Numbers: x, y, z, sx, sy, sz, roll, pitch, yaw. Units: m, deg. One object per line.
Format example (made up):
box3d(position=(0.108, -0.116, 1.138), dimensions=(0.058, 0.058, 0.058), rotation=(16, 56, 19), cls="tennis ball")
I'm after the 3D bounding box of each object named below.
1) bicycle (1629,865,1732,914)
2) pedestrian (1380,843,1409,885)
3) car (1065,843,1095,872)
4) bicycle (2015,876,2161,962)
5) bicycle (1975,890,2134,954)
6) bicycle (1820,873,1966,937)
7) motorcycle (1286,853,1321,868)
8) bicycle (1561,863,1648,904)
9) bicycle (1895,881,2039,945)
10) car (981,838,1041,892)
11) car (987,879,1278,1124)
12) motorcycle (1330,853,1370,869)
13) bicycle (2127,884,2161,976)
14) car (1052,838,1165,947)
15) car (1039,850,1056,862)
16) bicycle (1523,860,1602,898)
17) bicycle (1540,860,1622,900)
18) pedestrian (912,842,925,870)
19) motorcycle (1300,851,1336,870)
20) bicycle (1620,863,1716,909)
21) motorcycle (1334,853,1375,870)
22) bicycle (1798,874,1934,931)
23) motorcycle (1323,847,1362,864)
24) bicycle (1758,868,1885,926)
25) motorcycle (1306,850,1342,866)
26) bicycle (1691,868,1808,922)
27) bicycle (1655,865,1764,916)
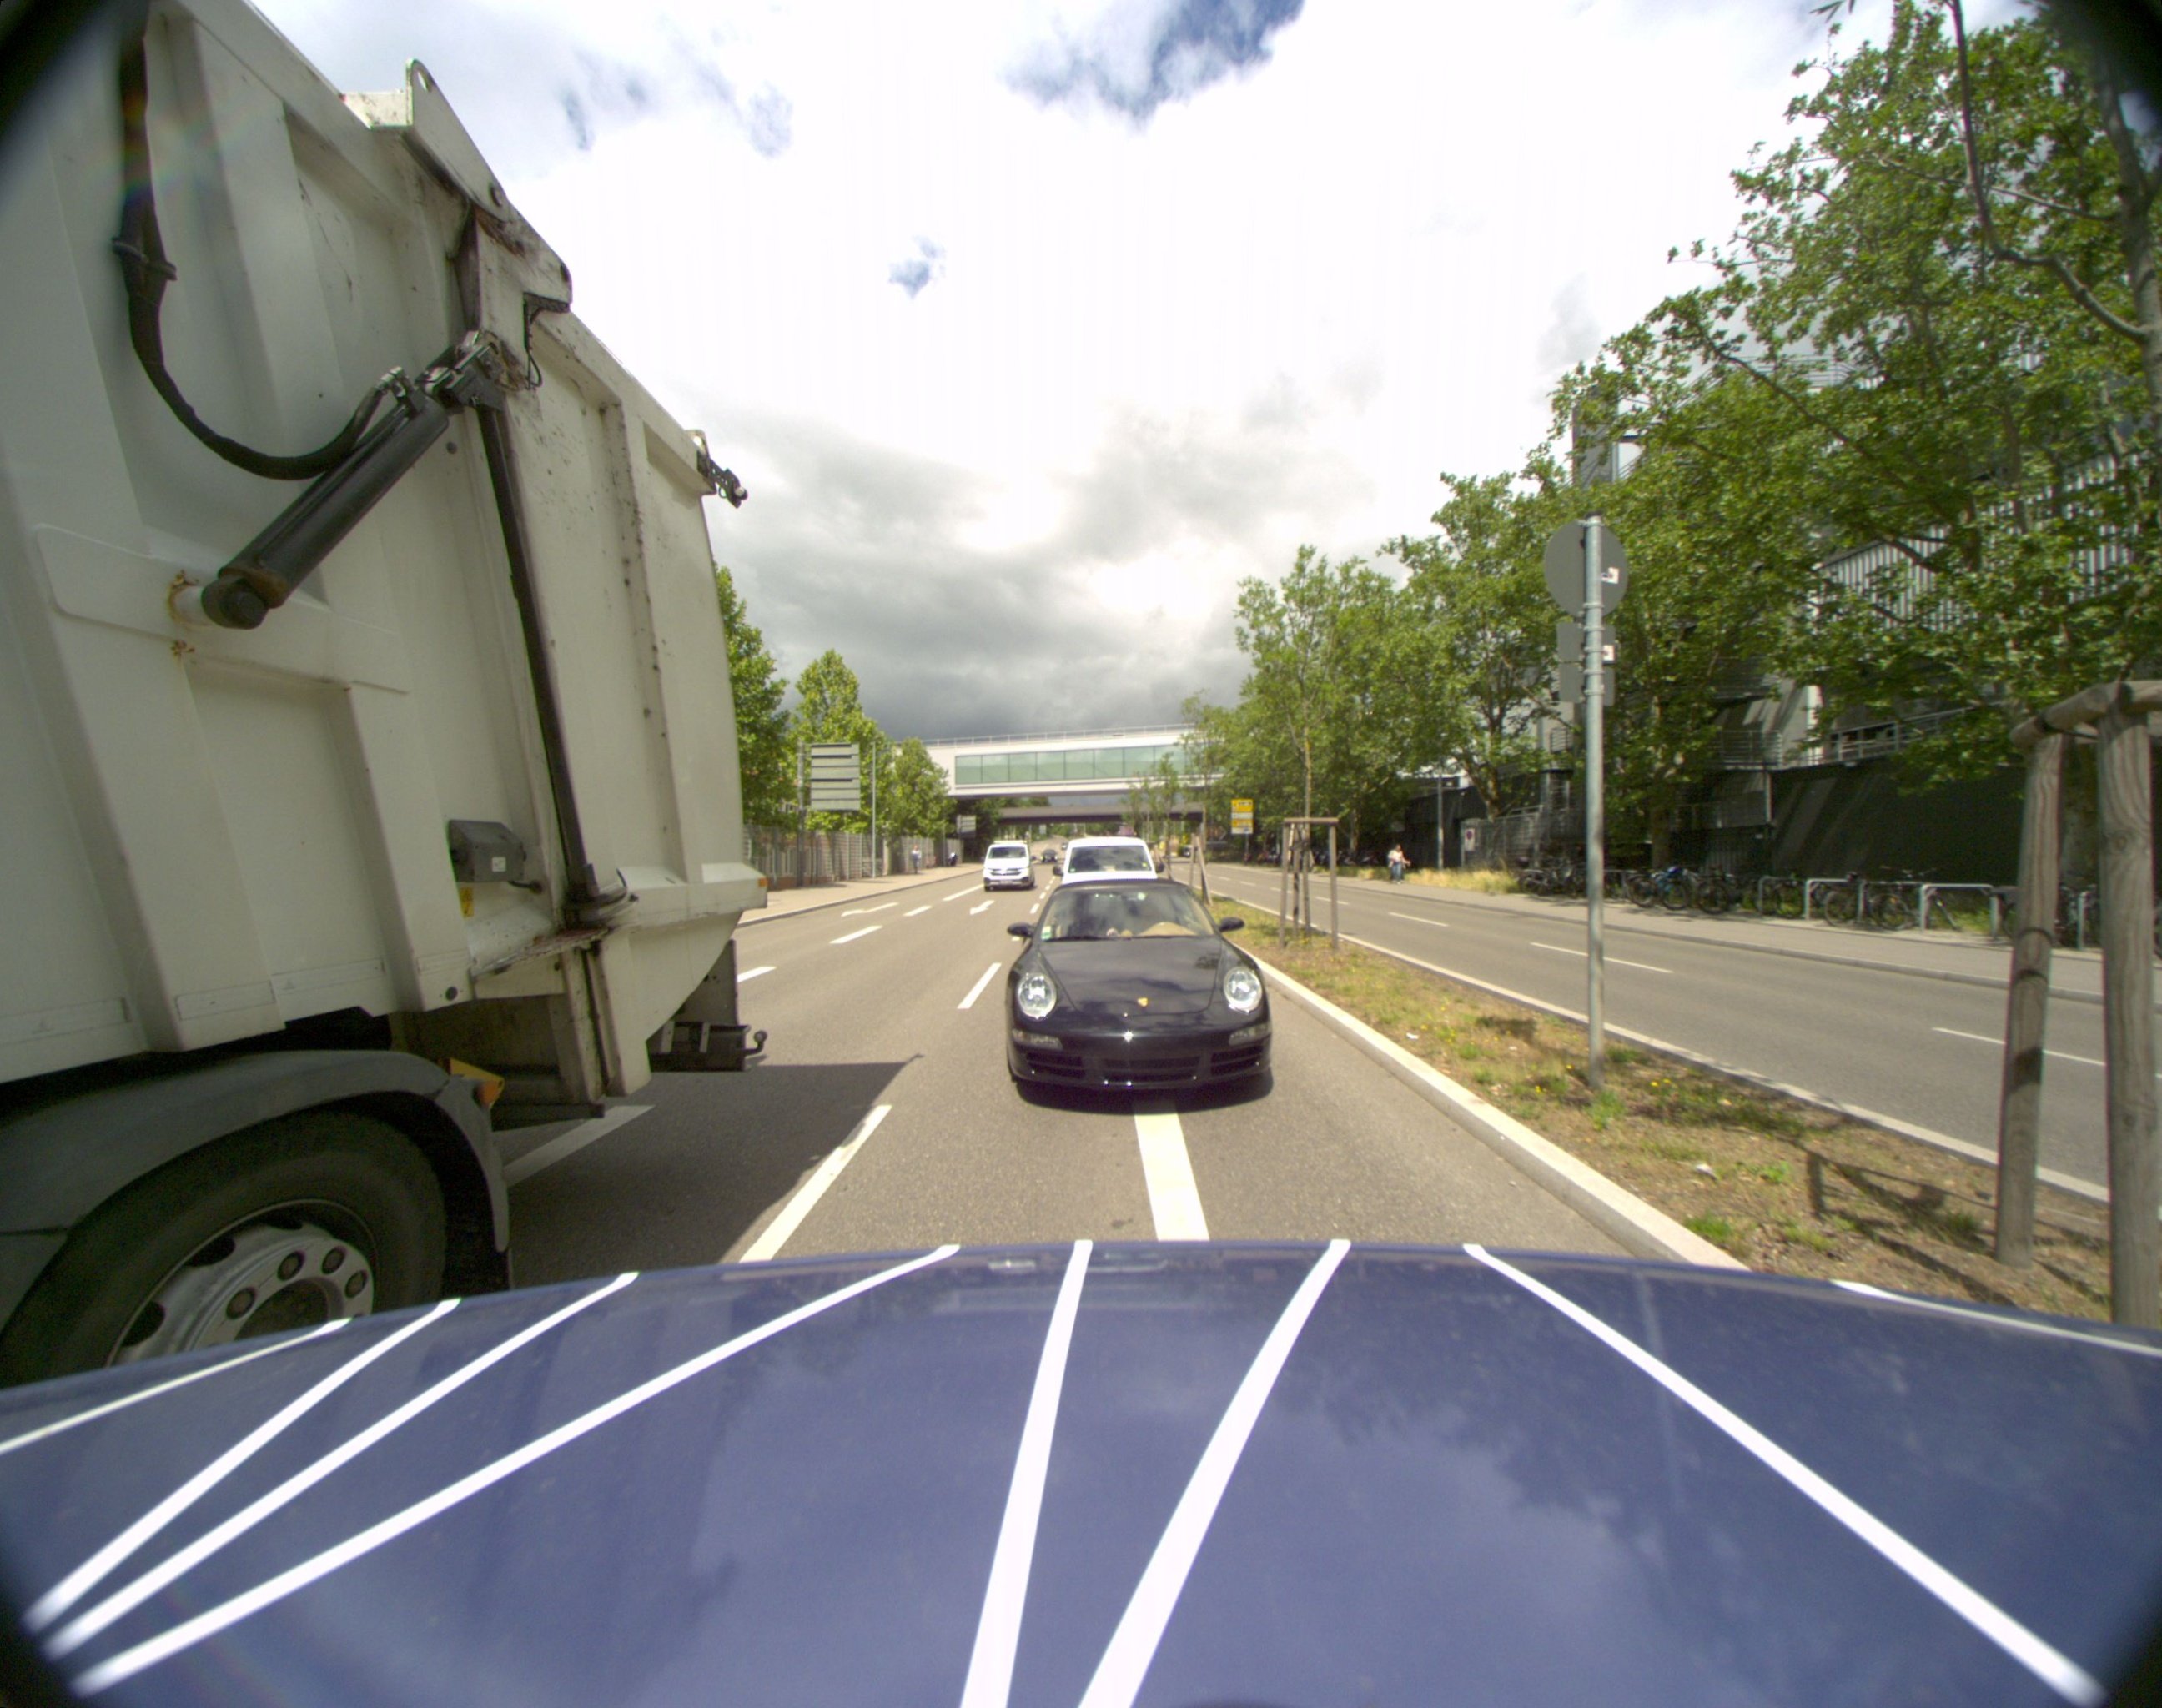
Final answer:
box3d(position=(14.524, 0.858, 18.428), dimensions=(2.129, 1.104, 0.382), rotation=(-1, 1, 3), cls="bicycle")
box3d(position=(12.854, 0.412, 31.175), dimensions=(0.900, 1.710, 0.672), rotation=(-1, 1, 1), cls="pedestrian")
box3d(position=(-0.050, 0.230, 51.690), dimensions=(1.862, 1.800, 4.357), rotation=(-3, 0, 1), cls="car")
box3d(position=(14.369, 0.900, 10.695), dimensions=(1.993, 1.121, 0.382), rotation=(-1, 1, -1), cls="bicycle")
box3d(position=(14.973, 1.039, 11.698), dimensions=(1.993, 0.886, 0.382), rotation=(-1, 1, -1), cls="bicycle")
box3d(position=(14.595, 0.915, 13.678), dimensions=(2.129, 1.089, 0.382), rotation=(-1, 1, 3), cls="bicycle")
box3d(position=(14.777, 0.439, 50.537), dimensions=(2.133, 0.963, 0.534), rotation=(-1, 1, 1), cls="motorcycle")
box3d(position=(14.843, 0.833, 21.555), dimensions=(2.129, 1.104, 0.382), rotation=(-1, 1, 3), cls="bicycle")
box3d(position=(14.769, 0.976, 12.677), dimensions=(1.993, 0.992, 0.382), rotation=(-1, 1, -1), cls="bicycle")
box3d(position=(-2.860, 0.415, 32.210), dimensions=(1.925, 2.082, 4.656), rotation=(-1, 0, 2), cls="car")
box3d(position=(0.332, 0.948, 6.445), dimensions=(1.710, 1.281, 3.806), rotation=(-1, 0, 1), cls="car")
box3d(position=(15.865, 0.421, 44.821), dimensions=(2.133, 0.880, 0.534), rotation=(-1, 1, 1), cls="motorcycle")
box3d(position=(14.394, 0.932, 9.557), dimensions=(1.993, 1.121, 0.382), rotation=(-1, 1, -1), cls="bicycle")
box3d(position=(0.495, 0.633, 15.209), dimensions=(1.862, 1.800, 4.906), rotation=(-1, 0, 1), cls="car")
box3d(position=(-4.012, 0.215, 91.322), dimensions=(1.862, 1.369, 4.356), rotation=(-1, 0, -1), cls="car")
box3d(position=(14.770, 0.775, 23.319), dimensions=(2.129, 1.104, 0.382), rotation=(-1, 1, 3), cls="bicycle")
box3d(position=(14.772, 0.761, 22.477), dimensions=(2.129, 1.104, 0.382), rotation=(-1, 1, 3), cls="bicycle")
box3d(position=(-11.217, 0.128, 52.437), dimensions=(0.739, 1.901, 0.658), rotation=(-2, 1, -3), cls="pedestrian")
box3d(position=(15.443, 0.418, 49.522), dimensions=(2.133, 1.131, 0.534), rotation=(-1, 1, 1), cls="motorcycle")
box3d(position=(15.084, 0.823, 19.543), dimensions=(2.129, 1.104, 0.382), rotation=(-1, 1, 3), cls="bicycle")
box3d(position=(15.426, 0.421, 42.907), dimensions=(2.133, 0.893, 0.534), rotation=(-1, 1, 1), cls="motorcycle")
box3d(position=(15.028, 0.922, 14.572), dimensions=(2.129, 1.025, 0.382), rotation=(-1, 1, 3), cls="bicycle")
box3d(position=(15.848, 0.108, 46.095), dimensions=(2.133, 0.963, 0.534), rotation=(-1, 1, 1), cls="motorcycle")
box3d(position=(15.059, 0.875, 15.478), dimensions=(2.129, 1.104, 0.382), rotation=(-1, 1, 3), cls="bicycle")
box3d(position=(15.460, 0.225, 48.319), dimensions=(2.133, 0.963, 0.534), rotation=(-1, 1, 1), cls="motorcycle")
box3d(position=(14.519, 0.887, 16.517), dimensions=(2.129, 1.104, 0.382), rotation=(-1, 1, 3), cls="bicycle")
box3d(position=(14.497, 0.838, 17.541), dimensions=(2.129, 1.104, 0.382), rotation=(-1, 1, 3), cls="bicycle")
